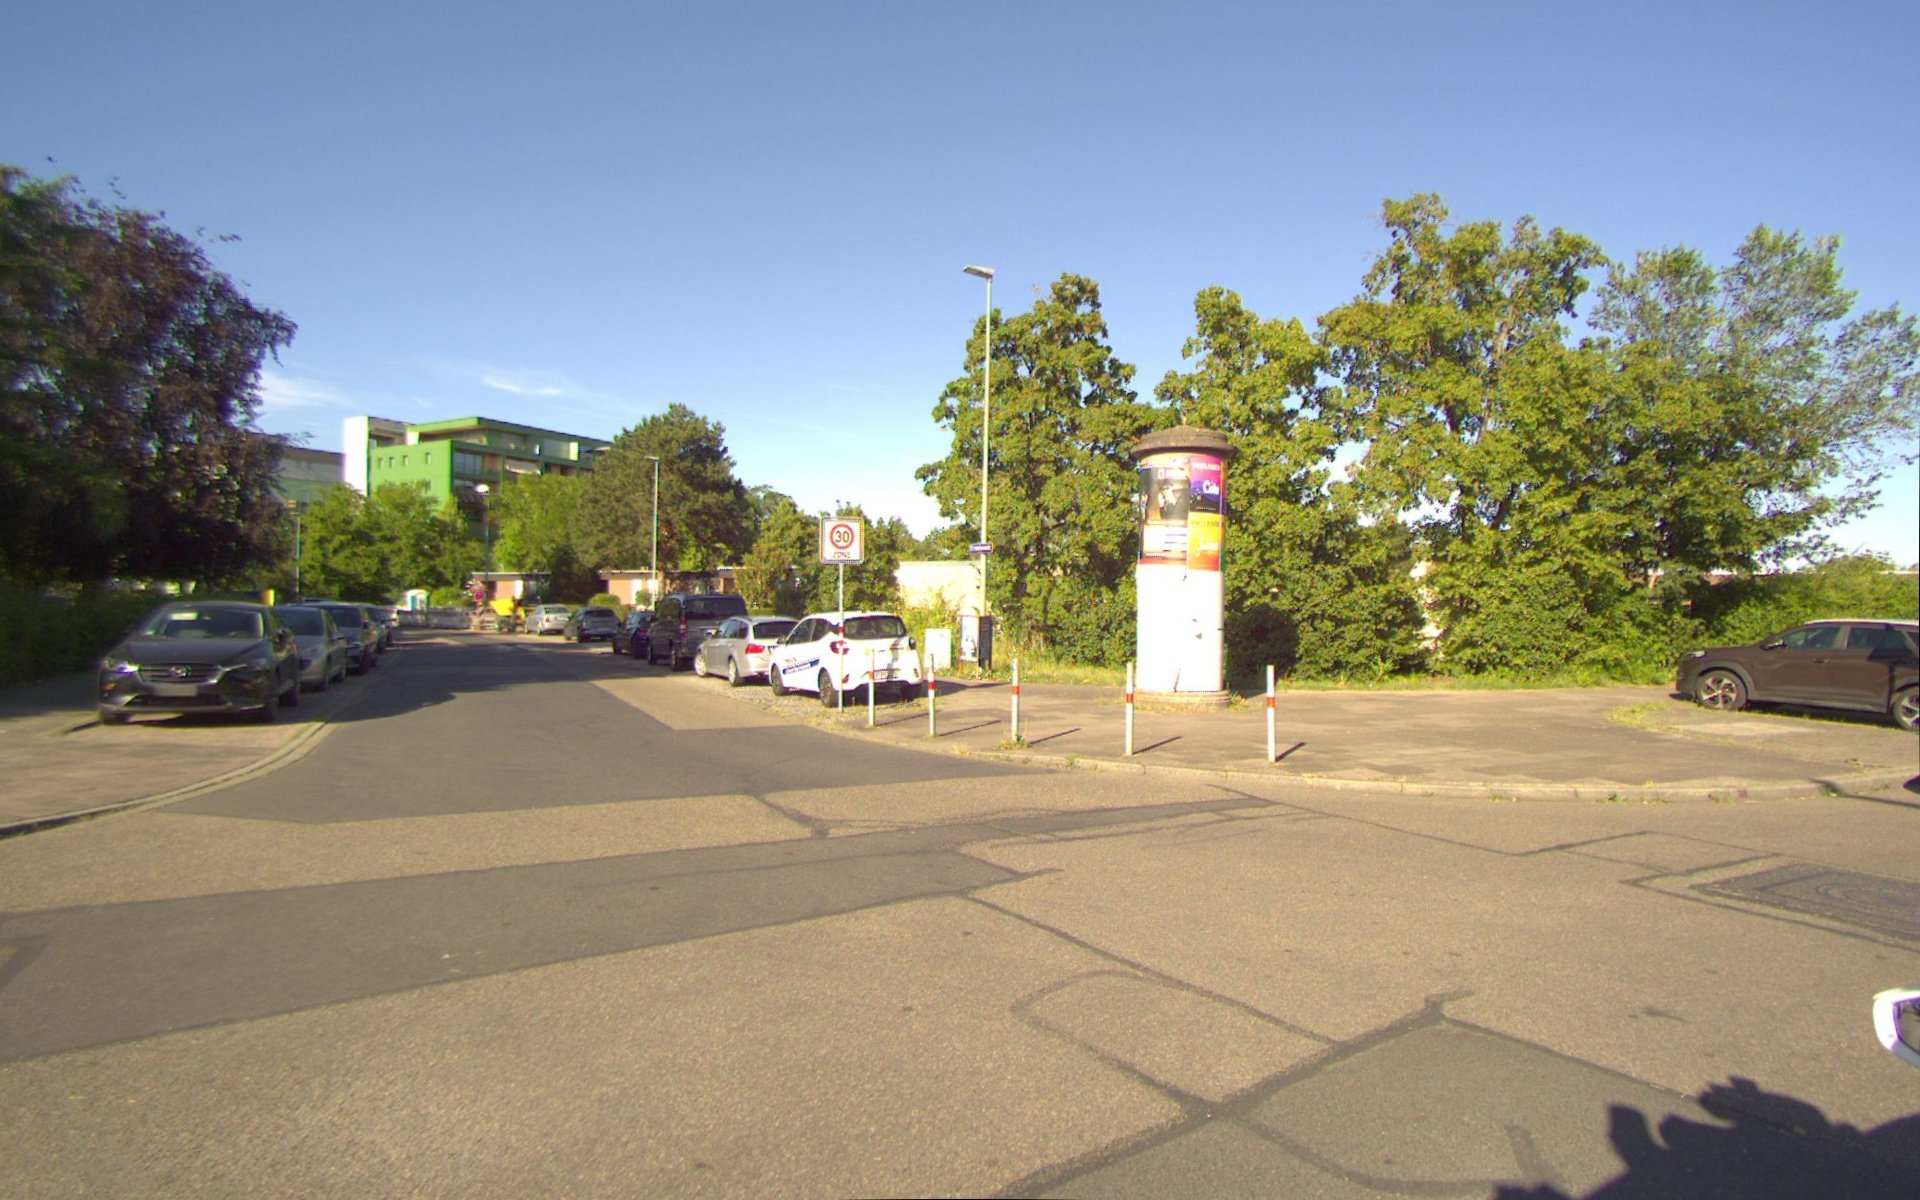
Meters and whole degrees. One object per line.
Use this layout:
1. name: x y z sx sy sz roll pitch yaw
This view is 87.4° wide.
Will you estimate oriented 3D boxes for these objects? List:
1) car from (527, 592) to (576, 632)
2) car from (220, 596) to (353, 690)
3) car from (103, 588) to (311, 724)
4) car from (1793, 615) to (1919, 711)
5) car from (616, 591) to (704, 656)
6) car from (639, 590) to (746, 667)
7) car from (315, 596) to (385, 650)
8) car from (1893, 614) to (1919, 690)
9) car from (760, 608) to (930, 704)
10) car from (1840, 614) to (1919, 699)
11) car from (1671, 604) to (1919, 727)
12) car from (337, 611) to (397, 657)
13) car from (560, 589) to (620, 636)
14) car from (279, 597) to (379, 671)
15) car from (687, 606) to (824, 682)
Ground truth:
1. car: -20.052 0.587 49.220 1.717 1.880 4.310 0 -1 -30
2. car: -12.496 0.766 18.849 1.726 1.563 3.897 2 -2 -30
3. car: -10.003 0.701 13.635 1.726 1.563 3.897 2 -2 -30
4. car: 17.203 1.154 17.294 1.810 1.553 3.968 2 1 -29
5. car: -9.434 0.705 31.333 1.717 1.880 4.310 0 -1 -30
6. car: -7.227 0.725 26.846 1.717 1.880 4.310 0 -1 -30
7. car: -19.235 0.738 31.820 1.726 1.563 4.068 2 -2 -30
8. car: 21.162 1.163 19.544 1.883 1.533 4.000 2 1 -29
9. car: -2.105 0.904 17.560 1.717 1.481 3.503 0 -1 -30
10. car: 19.084 1.144 18.389 1.791 1.533 4.073 2 1 -29
11. car: 14.406 1.020 16.381 1.825 1.678 4.167 2 1 -30
12. car: -21.155 1.202 35.917 1.726 1.563 4.068 2 -2 -30
13. car: -15.722 0.545 42.598 1.717 1.880 4.310 0 -1 -30
14. car: -14.532 0.769 23.314 1.726 1.563 4.068 2 -2 -30
15. car: -4.585 0.911 22.027 1.717 1.481 4.310 0 -1 -30
